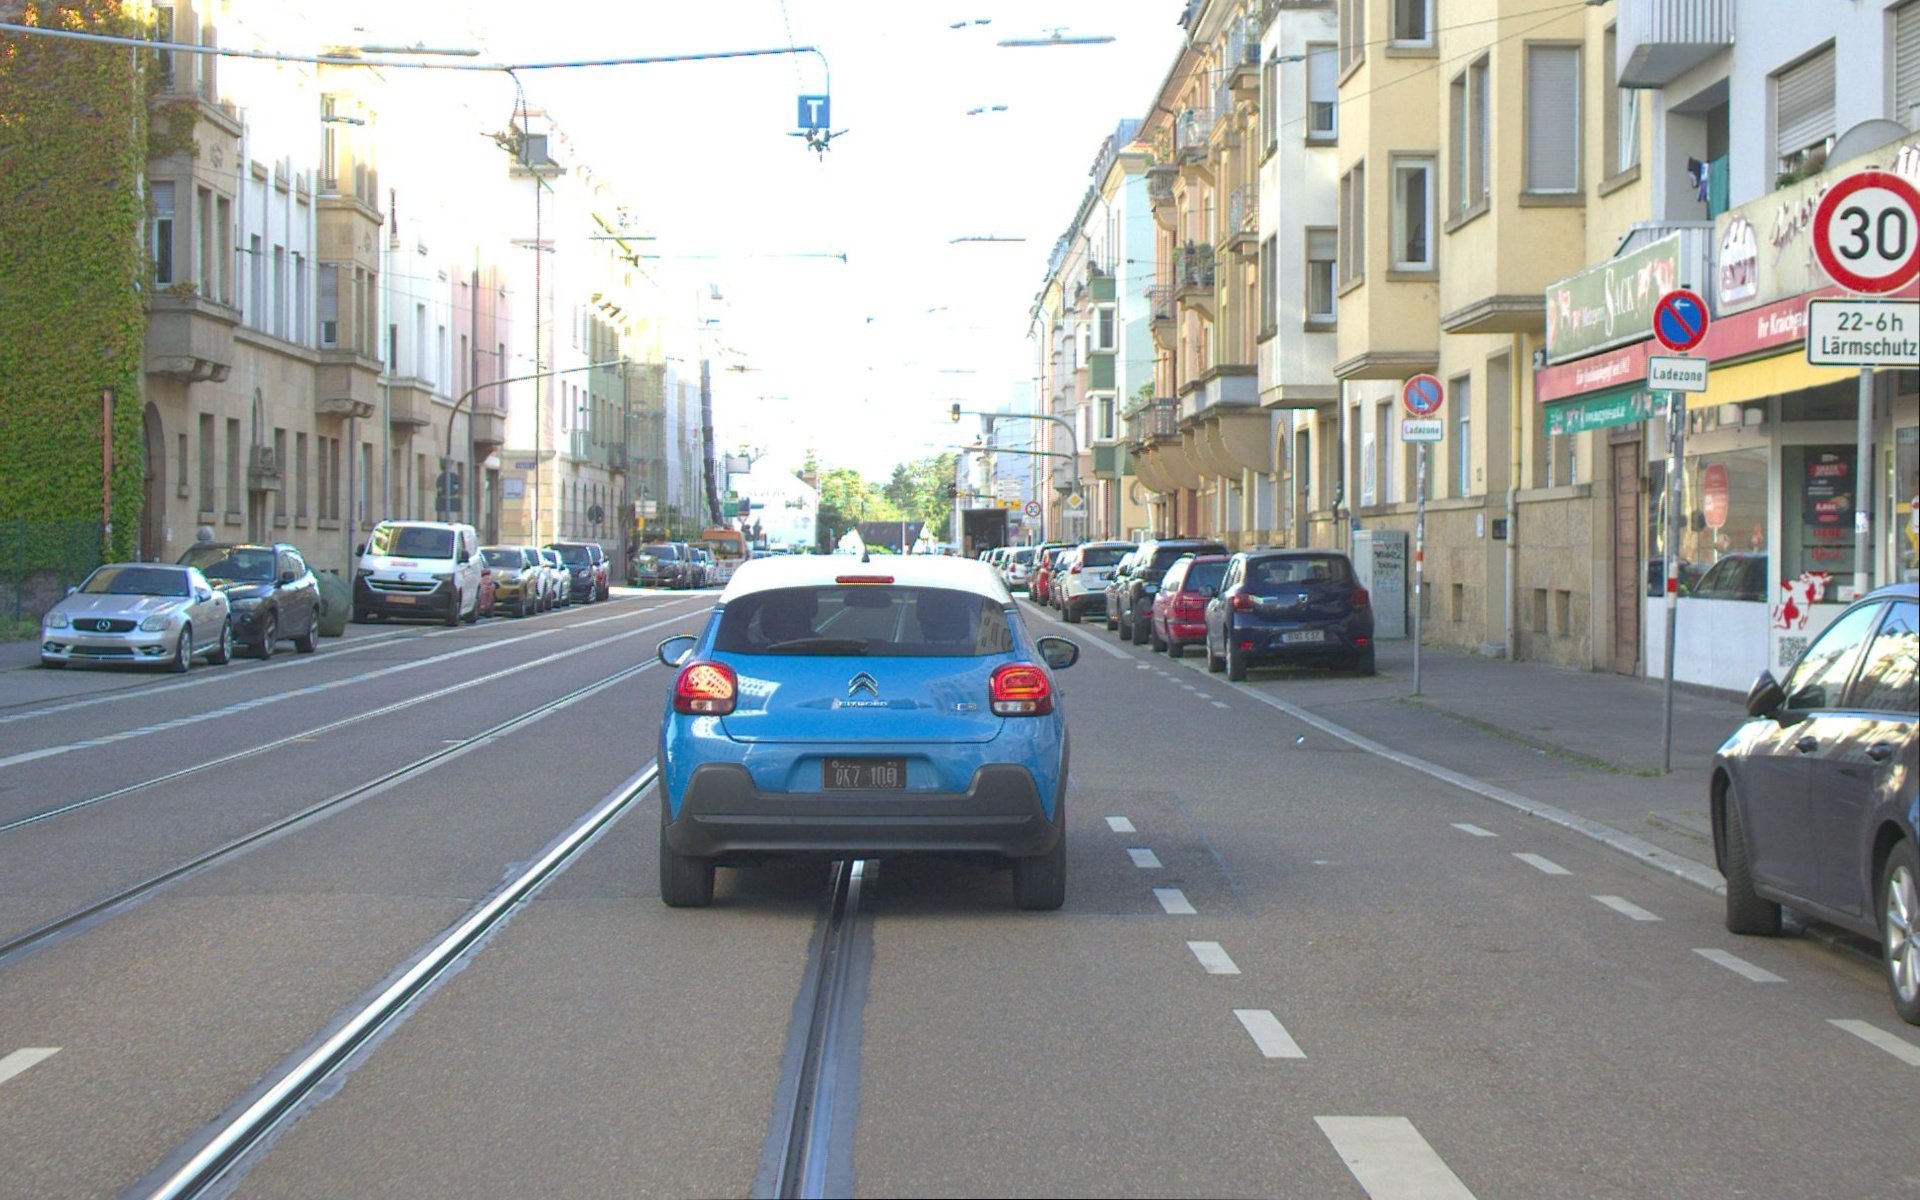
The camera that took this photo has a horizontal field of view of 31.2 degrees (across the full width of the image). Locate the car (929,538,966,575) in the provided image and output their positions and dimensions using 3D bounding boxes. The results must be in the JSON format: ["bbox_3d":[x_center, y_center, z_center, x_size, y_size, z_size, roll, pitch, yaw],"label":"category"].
[{"bbox_3d":[-0.654,-2.262,177.936,1.821,1.888,4.000,1,1,-1],"label":"car"}]

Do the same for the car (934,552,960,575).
[{"bbox_3d":[-0.893,-2.472,231.568,1.765,1.481,4.032,0,1,0],"label":"car"}]

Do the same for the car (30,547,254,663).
[{"bbox_3d":[-10.136,0.026,42.888,1.783,1.309,4.221,2,1,-1],"label":"car"}]

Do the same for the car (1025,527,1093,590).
[{"bbox_3d":[2.859,-1.219,100.462,1.753,1.730,4.507,-3,1,0],"label":"car"}]

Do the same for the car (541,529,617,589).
[{"bbox_3d":[-10.712,-1.166,96.821,1.783,1.601,4.398,2,1,-3],"label":"car"}]

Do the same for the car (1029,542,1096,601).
[{"bbox_3d":[2.780,-0.789,93.608,1.753,1.589,3.730,0,1,1],"label":"car"}]

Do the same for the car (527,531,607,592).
[{"bbox_3d":[-10.568,-1.038,92.673,1.783,1.547,3.019,2,1,-1],"label":"car"}]

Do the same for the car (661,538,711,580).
[{"bbox_3d":[-11.052,-1.676,138.954,1.783,1.621,4.610,2,1,-3],"label":"car"}]

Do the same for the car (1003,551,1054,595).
[{"bbox_3d":[2.513,-1.007,127.592,1.783,1.626,4.000,0,1,0],"label":"car"}]

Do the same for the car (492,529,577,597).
[{"bbox_3d":[-10.736,-0.952,86.970,1.783,1.616,4.180,2,1,-3],"label":"car"}]

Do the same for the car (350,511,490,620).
[{"bbox_3d":[-10.383,-0.687,66.435,1.973,1.942,5.252,2,1,-2],"label":"car"}]

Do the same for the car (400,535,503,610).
[{"bbox_3d":[-10.591,-0.586,71.790,1.602,1.467,3.646,2,1,-1],"label":"car"}]

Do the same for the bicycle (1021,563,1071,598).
[{"bbox_3d":[3.075,-0.687,122.737,1.722,1.150,0.469,-3,1,0],"label":"bicycle"}]

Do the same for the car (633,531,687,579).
[{"bbox_3d":[-11.130,-1.676,127.765,1.783,1.684,4.668,2,1,-3],"label":"car"}]

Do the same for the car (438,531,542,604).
[{"bbox_3d":[-10.406,-0.733,76.292,1.783,1.518,4.360,2,1,-2],"label":"car"}]

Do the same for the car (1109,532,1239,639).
[{"bbox_3d":[3.425,-0.261,55.787,1.859,1.660,4.561,0,1,1],"label":"car"}]

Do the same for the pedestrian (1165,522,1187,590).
[{"bbox_3d":[5.409,-1.104,85.969,0.513,1.681,0.448,0,1,-1],"label":"pedestrian"}]

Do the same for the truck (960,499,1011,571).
[{"bbox_3d":[1.483,-3.716,198.312,2.853,4.069,11.271,0,1,0],"label":"truck"}]

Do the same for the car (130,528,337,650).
[{"bbox_3d":[-10.104,-0.176,48.123,1.783,1.560,4.610,2,1,1],"label":"car"}]

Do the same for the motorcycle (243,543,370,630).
[{"bbox_3d":[-10.401,-0.223,54.780,0.885,1.346,1.954,1,1,32],"label":"motorcycle"}]

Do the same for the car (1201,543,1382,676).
[{"bbox_3d":[3.894,0.075,40.966,1.718,1.486,4.002,-1,1,0],"label":"car"}]

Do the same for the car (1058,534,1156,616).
[{"bbox_3d":[3.068,-0.545,72.514,1.843,1.685,4.505,0,1,0],"label":"car"}]

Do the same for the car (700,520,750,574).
[{"bbox_3d":[-11.060,-2.504,161.966,2.144,2.467,4.981,2,1,-3],"label":"car"}]

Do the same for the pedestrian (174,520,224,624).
[{"bbox_3d":[-12.761,-0.471,57.633,0.679,1.718,0.616,1,1,0],"label":"pedestrian"}]

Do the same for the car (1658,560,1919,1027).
[{"bbox_3d":[3.859,0.576,12.578,1.710,1.402,4.358,-2,1,1],"label":"car"}]

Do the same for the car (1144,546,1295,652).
[{"bbox_3d":[3.684,-0.048,49.514,1.859,1.450,4.710,0,1,1],"label":"car"}]

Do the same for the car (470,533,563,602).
[{"bbox_3d":[-10.507,-0.794,81.661,1.771,1.541,4.366,2,1,-3],"label":"car"}]

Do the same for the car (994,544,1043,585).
[{"bbox_3d":[2.255,-1.380,133.144,1.783,1.570,4.326,0,1,0],"label":"car"}]

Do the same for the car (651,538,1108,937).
[{"bbox_3d":[-0.332,0.508,15.464,1.735,1.502,3.993,2,1,0],"label":"car"}]

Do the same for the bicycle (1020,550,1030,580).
[{"bbox_3d":[2.306,-1.247,122.408,0.353,1.041,1.728,0,1,1],"label":"bicycle"}]
